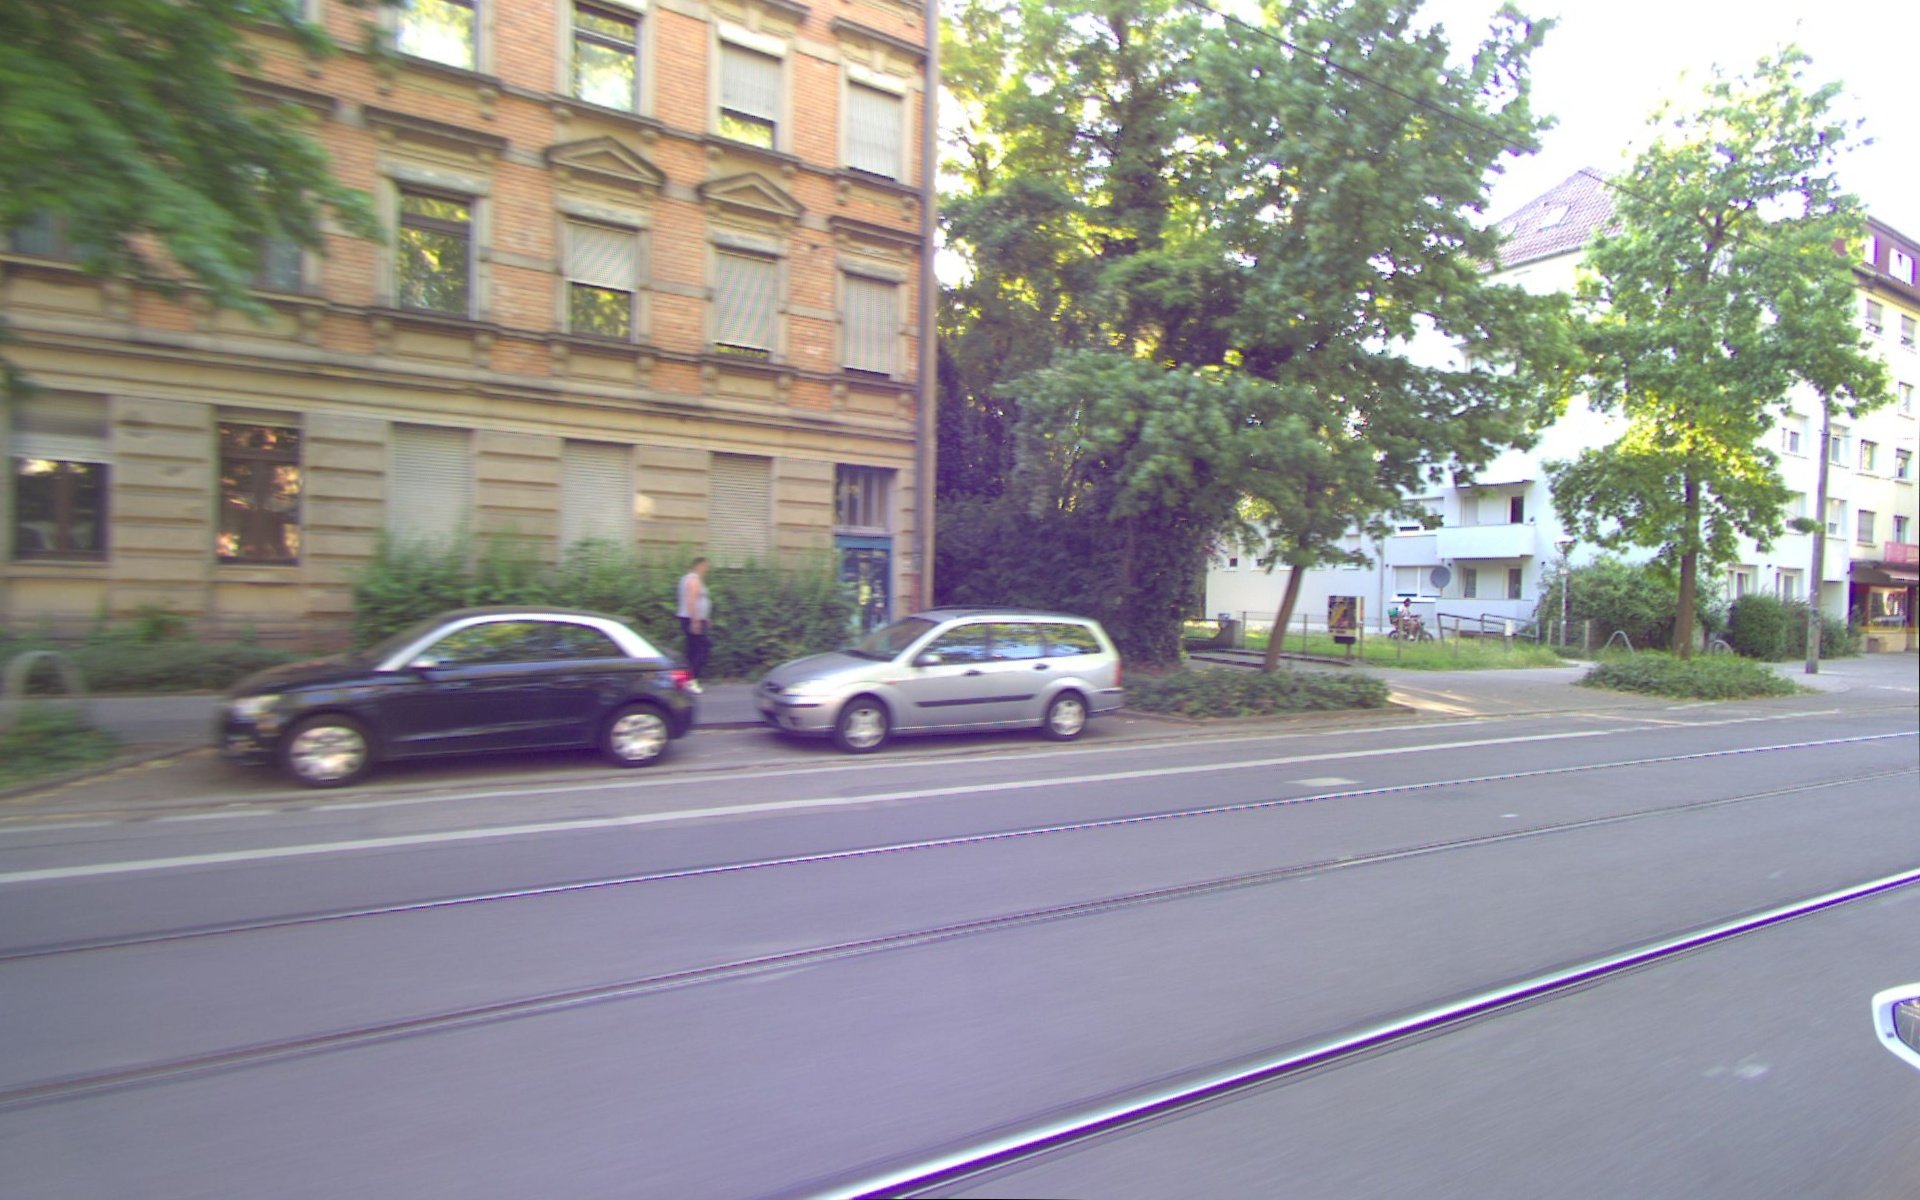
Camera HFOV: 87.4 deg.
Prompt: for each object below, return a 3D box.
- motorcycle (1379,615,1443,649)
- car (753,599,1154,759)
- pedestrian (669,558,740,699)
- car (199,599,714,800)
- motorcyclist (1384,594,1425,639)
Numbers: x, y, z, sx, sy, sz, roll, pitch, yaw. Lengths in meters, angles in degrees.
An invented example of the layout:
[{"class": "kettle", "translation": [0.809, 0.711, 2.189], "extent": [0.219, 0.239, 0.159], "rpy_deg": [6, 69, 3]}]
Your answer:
[{"class": "motorcycle", "translation": [14.917, 1.036, 33.272], "extent": [0.592, 1.046, 1.855], "rpy_deg": [1, 0, -41]}, {"class": "car", "translation": [-0.021, 0.828, 11.905], "extent": [4.479, 1.571, 1.693], "rpy_deg": [1, 1, -28]}, {"class": "pedestrian", "translation": [-3.509, 0.371, 13.769], "extent": [0.720, 1.872, 0.737], "rpy_deg": [1, 2, -32]}, {"class": "car", "translation": [-4.431, 0.771, 9.236], "extent": [3.904, 1.464, 1.649], "rpy_deg": [1, 1, -32]}, {"class": "motorcyclist", "translation": [14.788, 0.538, 33.432], "extent": [0.592, 1.469, 1.090], "rpy_deg": [1, 0, -41]}]
